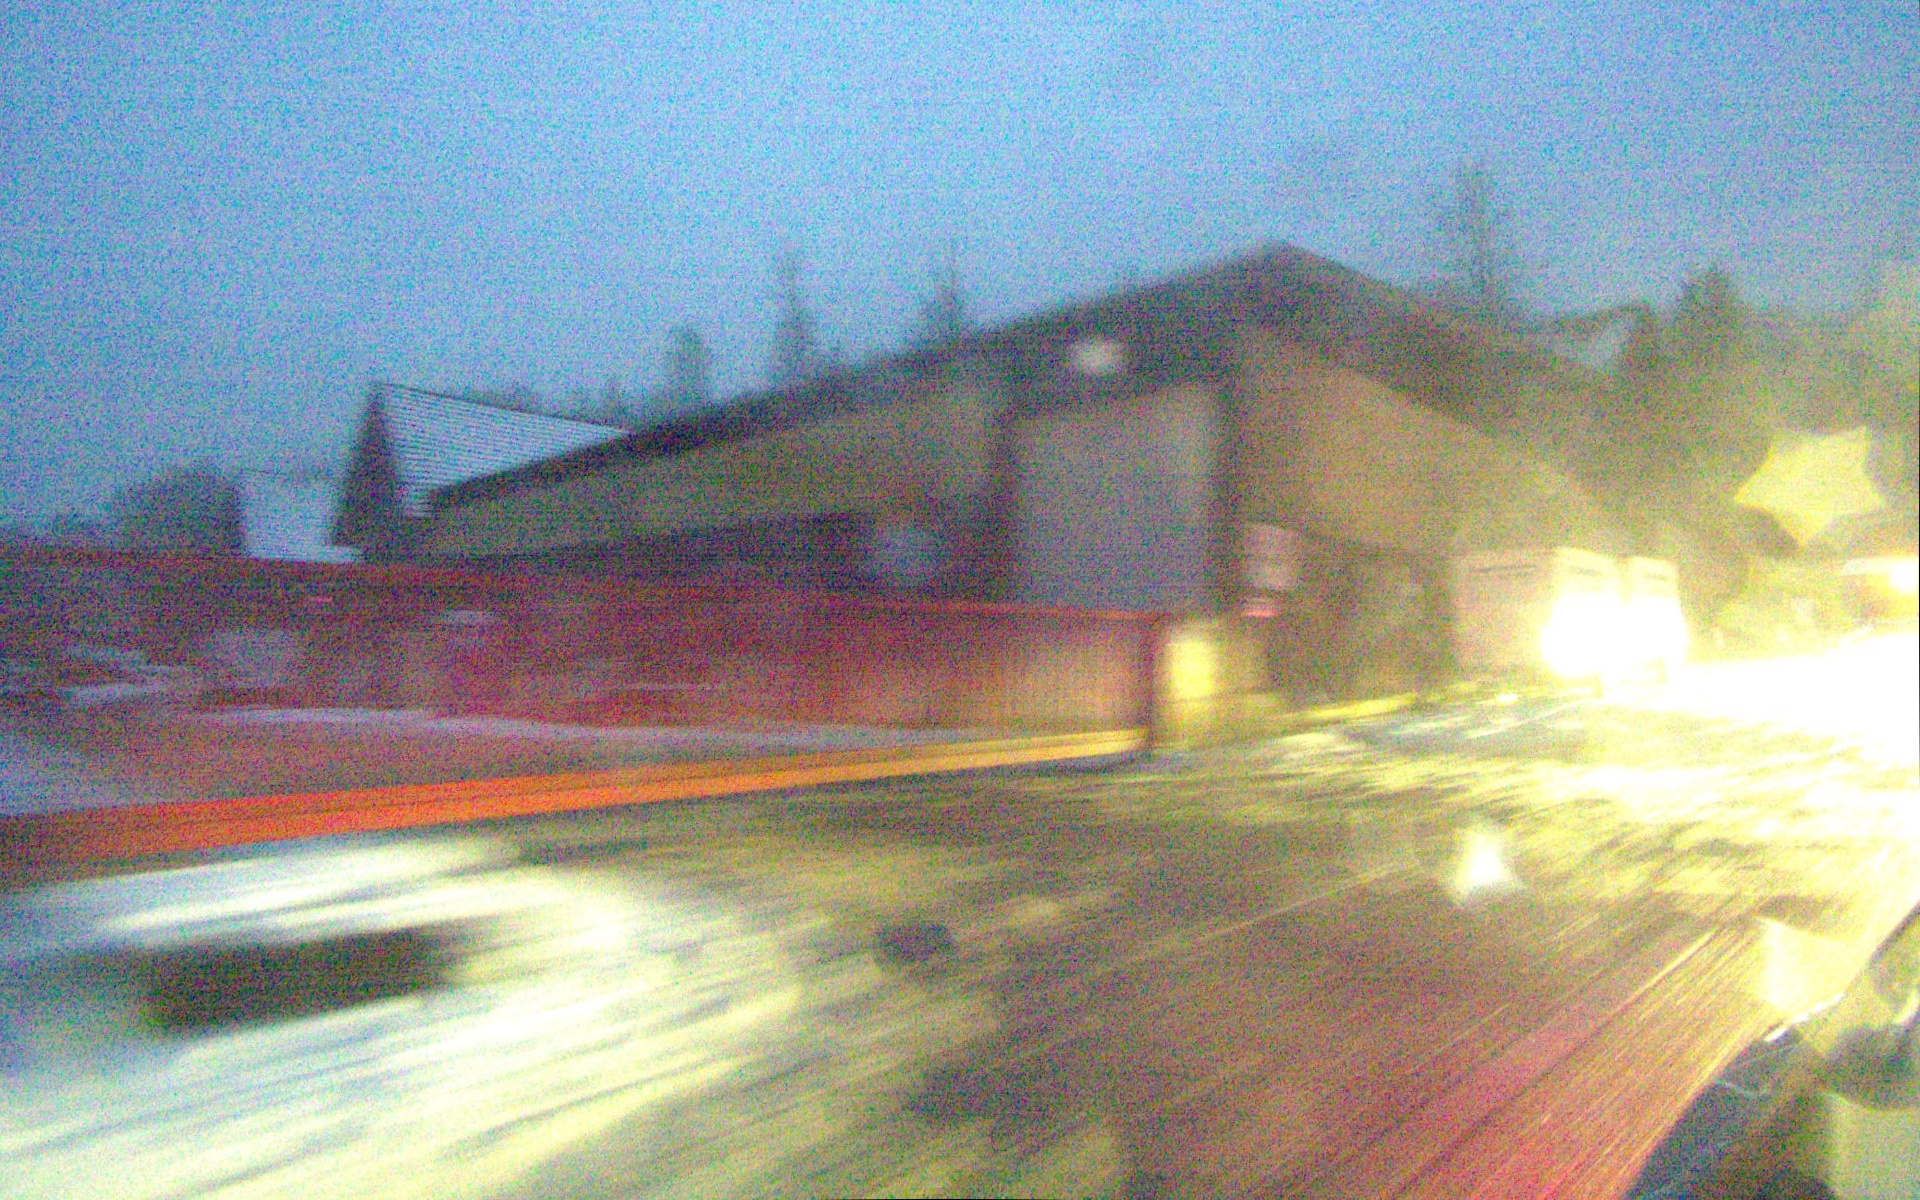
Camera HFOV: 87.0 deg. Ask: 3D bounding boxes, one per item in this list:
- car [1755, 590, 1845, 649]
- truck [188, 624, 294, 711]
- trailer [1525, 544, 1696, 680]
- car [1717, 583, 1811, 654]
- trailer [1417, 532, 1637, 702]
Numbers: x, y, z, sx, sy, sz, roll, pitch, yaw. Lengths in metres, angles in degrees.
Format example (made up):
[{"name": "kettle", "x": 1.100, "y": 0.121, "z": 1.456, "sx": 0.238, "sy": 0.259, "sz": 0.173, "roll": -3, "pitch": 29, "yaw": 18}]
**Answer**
[{"name": "car", "x": 28.492, "y": 0.625, "z": 34.281, "sx": 4.088, "sy": 1.833, "sz": 1.879, "roll": -1, "pitch": -1, "yaw": -44}, {"name": "truck", "x": -20.736, "y": 1.866, "z": 29.121, "sx": 1.966, "sy": 2.266, "sz": 4.374, "roll": 0, "pitch": -2, "yaw": -43}, {"name": "trailer", "x": 12.720, "y": 0.233, "z": 19.681, "sx": 4.355, "sy": 2.383, "sz": 1.607, "roll": 0, "pitch": -3, "yaw": -42}, {"name": "car", "x": 25.006, "y": 0.535, "z": 31.416, "sx": 1.877, "sy": 2.066, "sz": 4.322, "roll": -2, "pitch": -1, "yaw": 43}, {"name": "trailer", "x": 9.261, "y": 0.264, "z": 16.365, "sx": 4.574, "sy": 2.395, "sz": 1.631, "roll": 0, "pitch": -3, "yaw": -42}]
